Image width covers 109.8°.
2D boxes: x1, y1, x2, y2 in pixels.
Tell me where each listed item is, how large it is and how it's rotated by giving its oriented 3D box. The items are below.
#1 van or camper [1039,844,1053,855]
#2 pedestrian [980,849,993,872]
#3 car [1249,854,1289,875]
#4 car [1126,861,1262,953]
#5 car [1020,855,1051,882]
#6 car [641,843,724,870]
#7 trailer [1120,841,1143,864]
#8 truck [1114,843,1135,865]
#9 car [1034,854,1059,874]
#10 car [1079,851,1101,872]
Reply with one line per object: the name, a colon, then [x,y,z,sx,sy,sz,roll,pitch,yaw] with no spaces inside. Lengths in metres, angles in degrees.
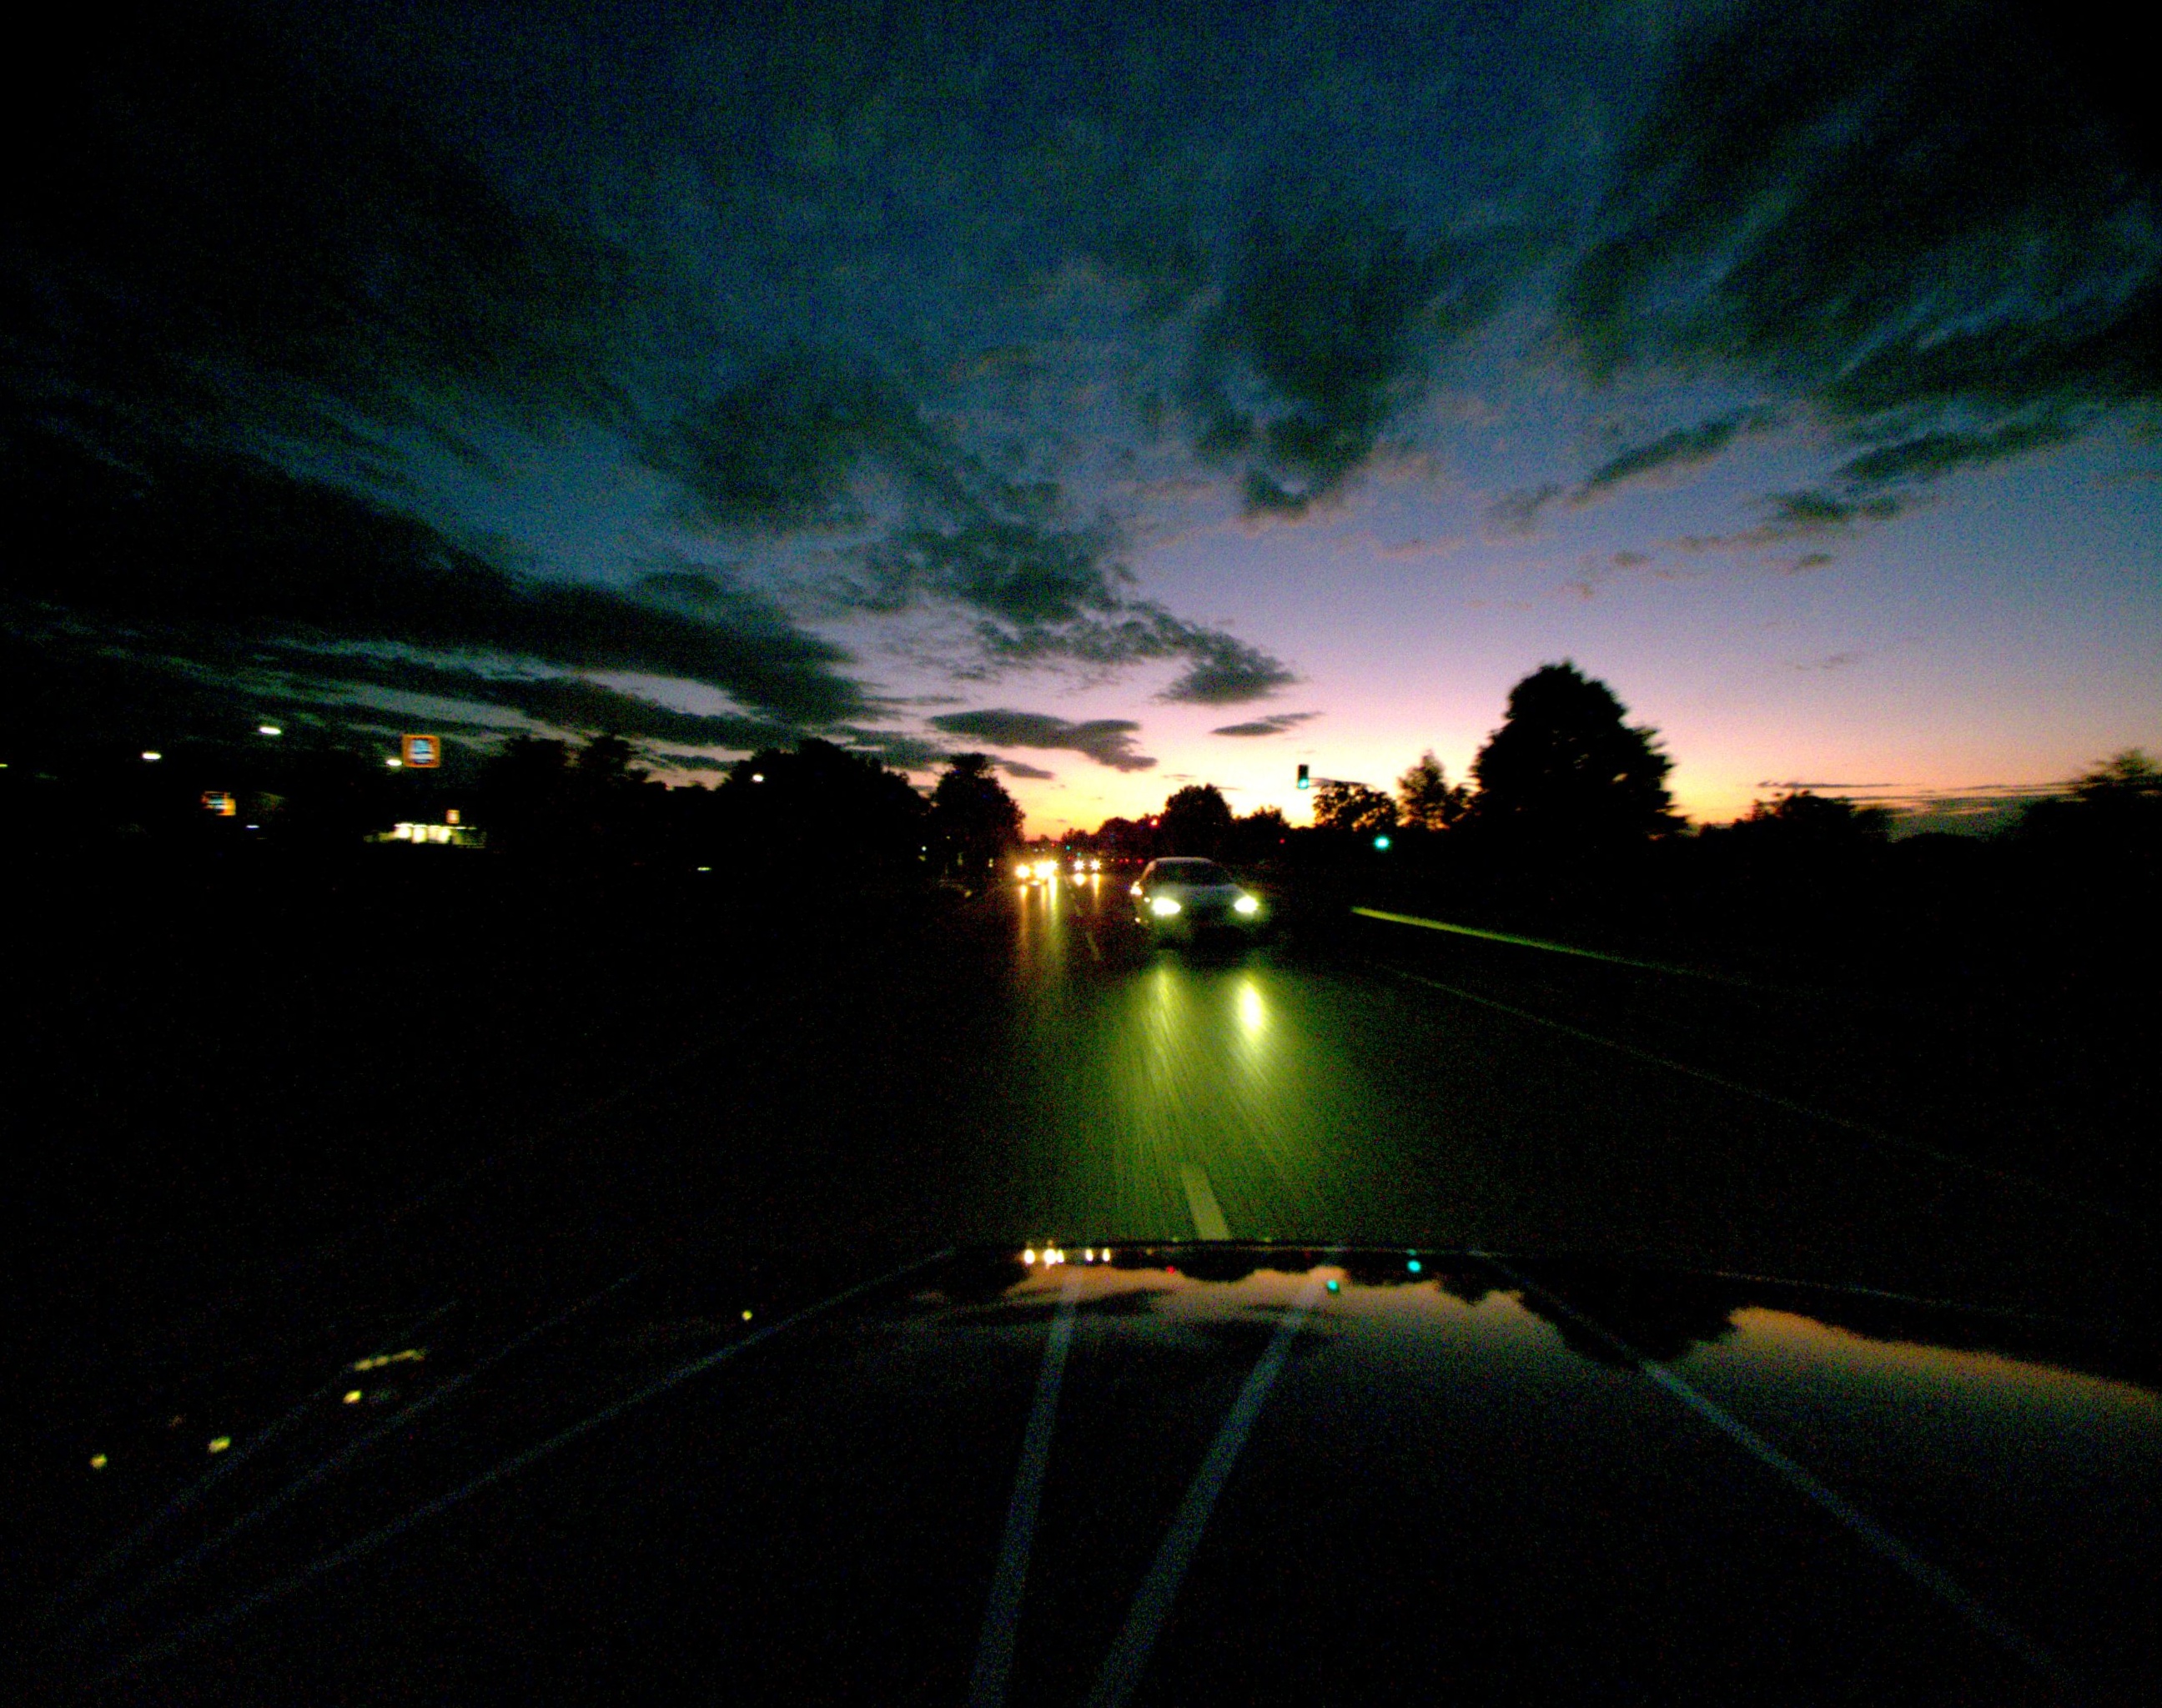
van or camper: [-9.967,-1.251,215.971,3.950,3.107,9.940,0,0,-2]
pedestrian: [-8.420,0.554,67.730,0.782,2.002,0.712,-3,2,-40]
car: [13.186,0.715,53.550,1.656,1.376,4.028,-2,1,-2]
car: [1.978,0.878,14.695,1.819,1.428,4.646,-2,0,-1]
car: [-2.682,0.837,45.201,1.663,1.528,3.714,-1,0,-1]
car: [-25.852,0.163,49.445,4.482,1.654,1.997,1,0,-18]
trailer: [9.185,-0.310,138.436,2.584,3.920,8.870,2,1,-5]
truck: [8.399,-0.109,148.129,2.733,4.093,10.341,-1,1,-4]
car: [-2.891,0.801,64.005,1.902,1.547,4.300,-3,0,-1]
car: [0.768,0.650,67.241,1.760,1.692,4.249,-2,0,0]
